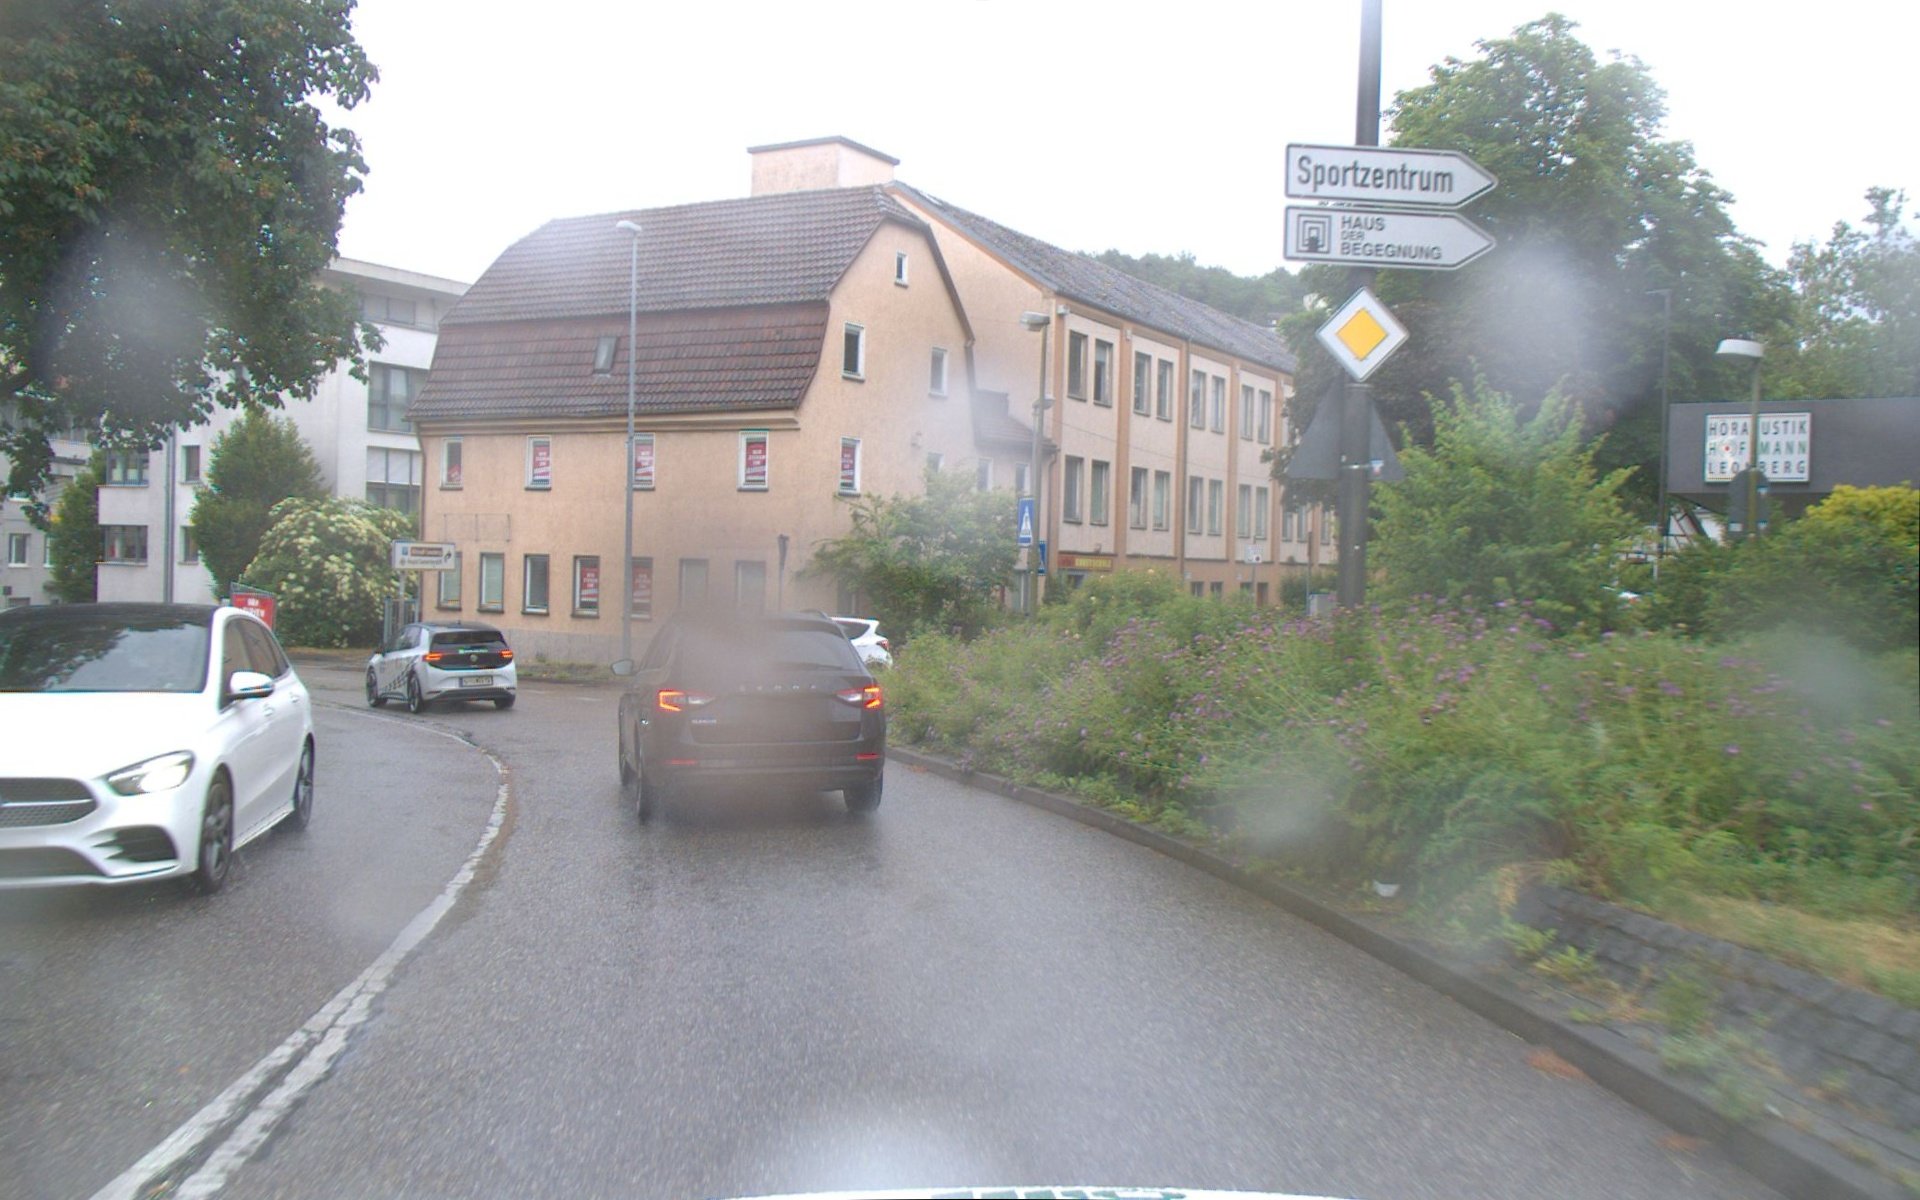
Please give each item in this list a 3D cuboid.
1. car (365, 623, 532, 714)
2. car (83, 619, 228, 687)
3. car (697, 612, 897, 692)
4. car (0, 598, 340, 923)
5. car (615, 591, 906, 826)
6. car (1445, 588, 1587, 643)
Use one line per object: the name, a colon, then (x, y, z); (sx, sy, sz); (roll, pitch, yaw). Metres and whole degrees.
car: (-9.319, 1.197, 29.942); (1.802, 1.383, 3.942); (2, 0, -34)
car: (-20.230, 1.334, 41.540); (4.105, 1.618, 1.725); (-2, -3, 39)
car: (-3.278, 1.015, 33.223); (3.699, 1.478, 1.701); (-1, 0, -22)
car: (-4.951, 0.767, 9.893); (1.693, 1.531, 4.245); (1, 0, -12)
car: (-1.758, 0.759, 13.221); (1.752, 1.509, 4.229); (-1, -1, -14)
car: (16.827, 0.448, 50.079); (3.819, 1.600, 1.716); (0, 0, 30)
